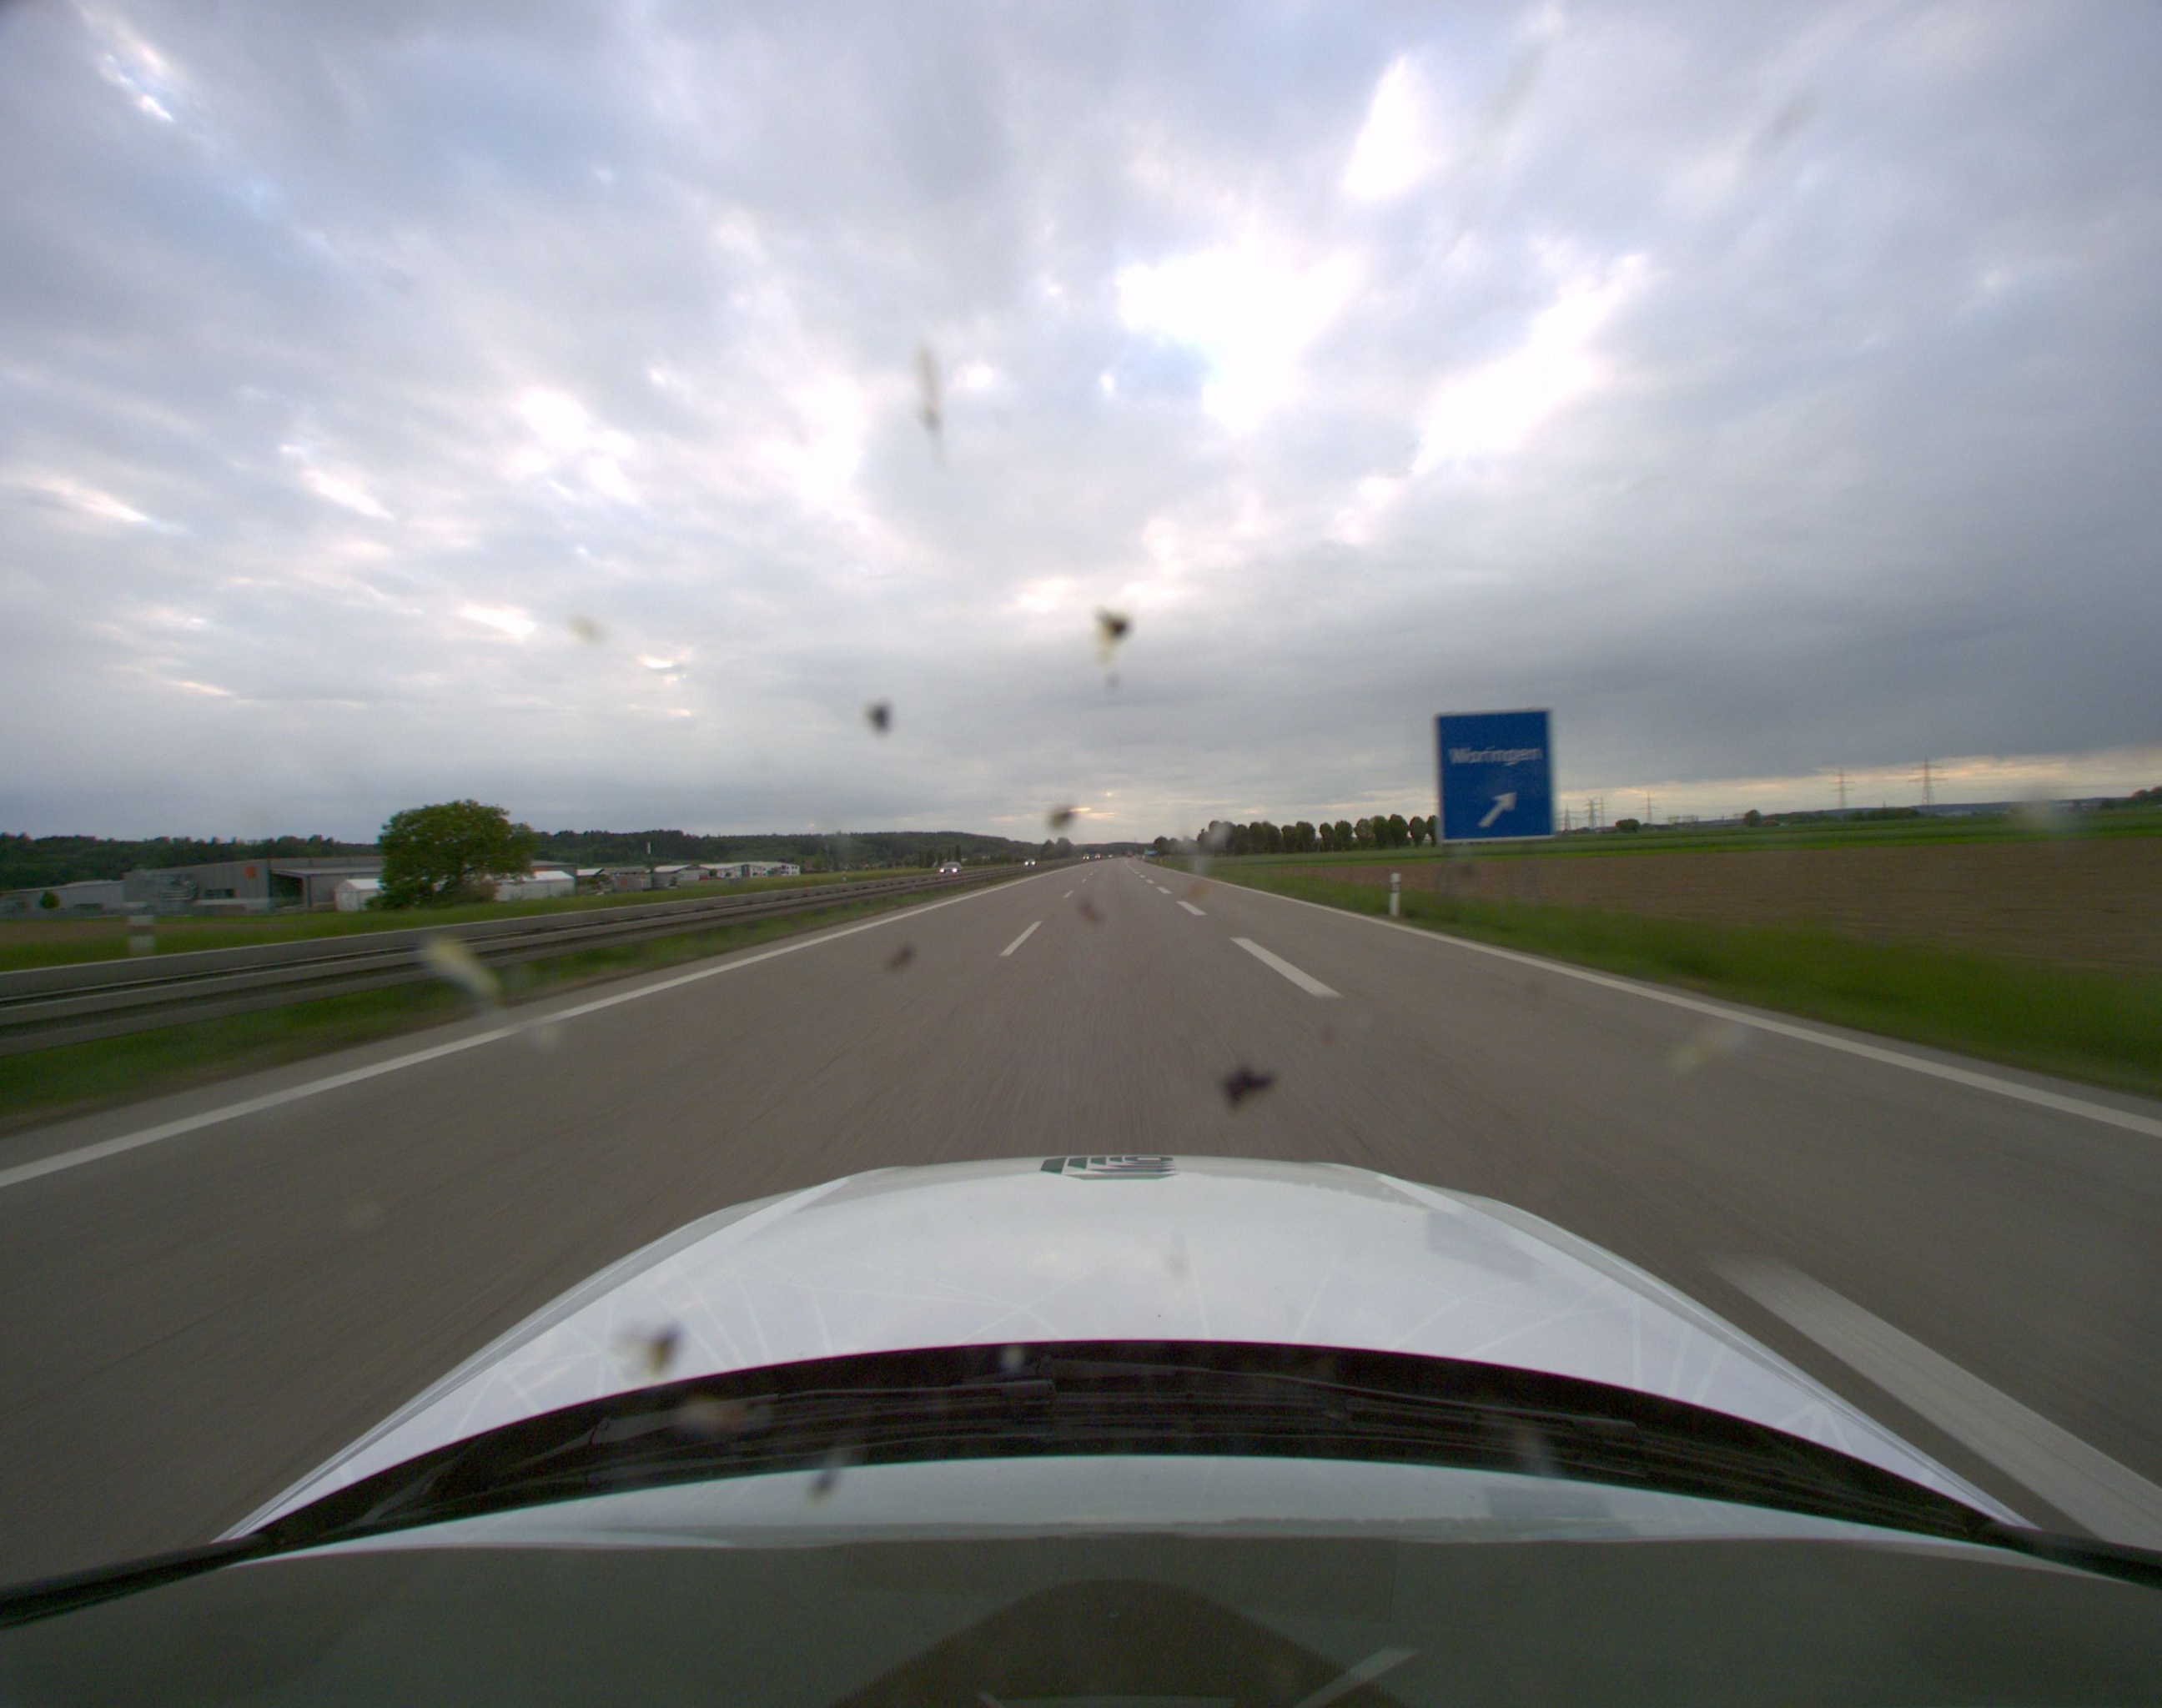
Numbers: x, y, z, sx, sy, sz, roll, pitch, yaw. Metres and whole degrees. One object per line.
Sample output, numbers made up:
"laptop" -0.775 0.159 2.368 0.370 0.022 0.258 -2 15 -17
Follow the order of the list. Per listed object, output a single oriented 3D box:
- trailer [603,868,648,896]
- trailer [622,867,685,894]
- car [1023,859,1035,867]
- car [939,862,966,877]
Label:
"trailer" -96.251 5.951 171.992 9.951 5.261 3.778 -4 -2 31
"trailer" -91.898 5.711 174.792 16.814 5.135 3.592 -4 -2 31
"car" -10.380 1.757 162.796 1.986 1.416 4.526 -1 0 2
"car" -13.424 1.609 85.403 1.986 1.480 4.453 -1 0 2
